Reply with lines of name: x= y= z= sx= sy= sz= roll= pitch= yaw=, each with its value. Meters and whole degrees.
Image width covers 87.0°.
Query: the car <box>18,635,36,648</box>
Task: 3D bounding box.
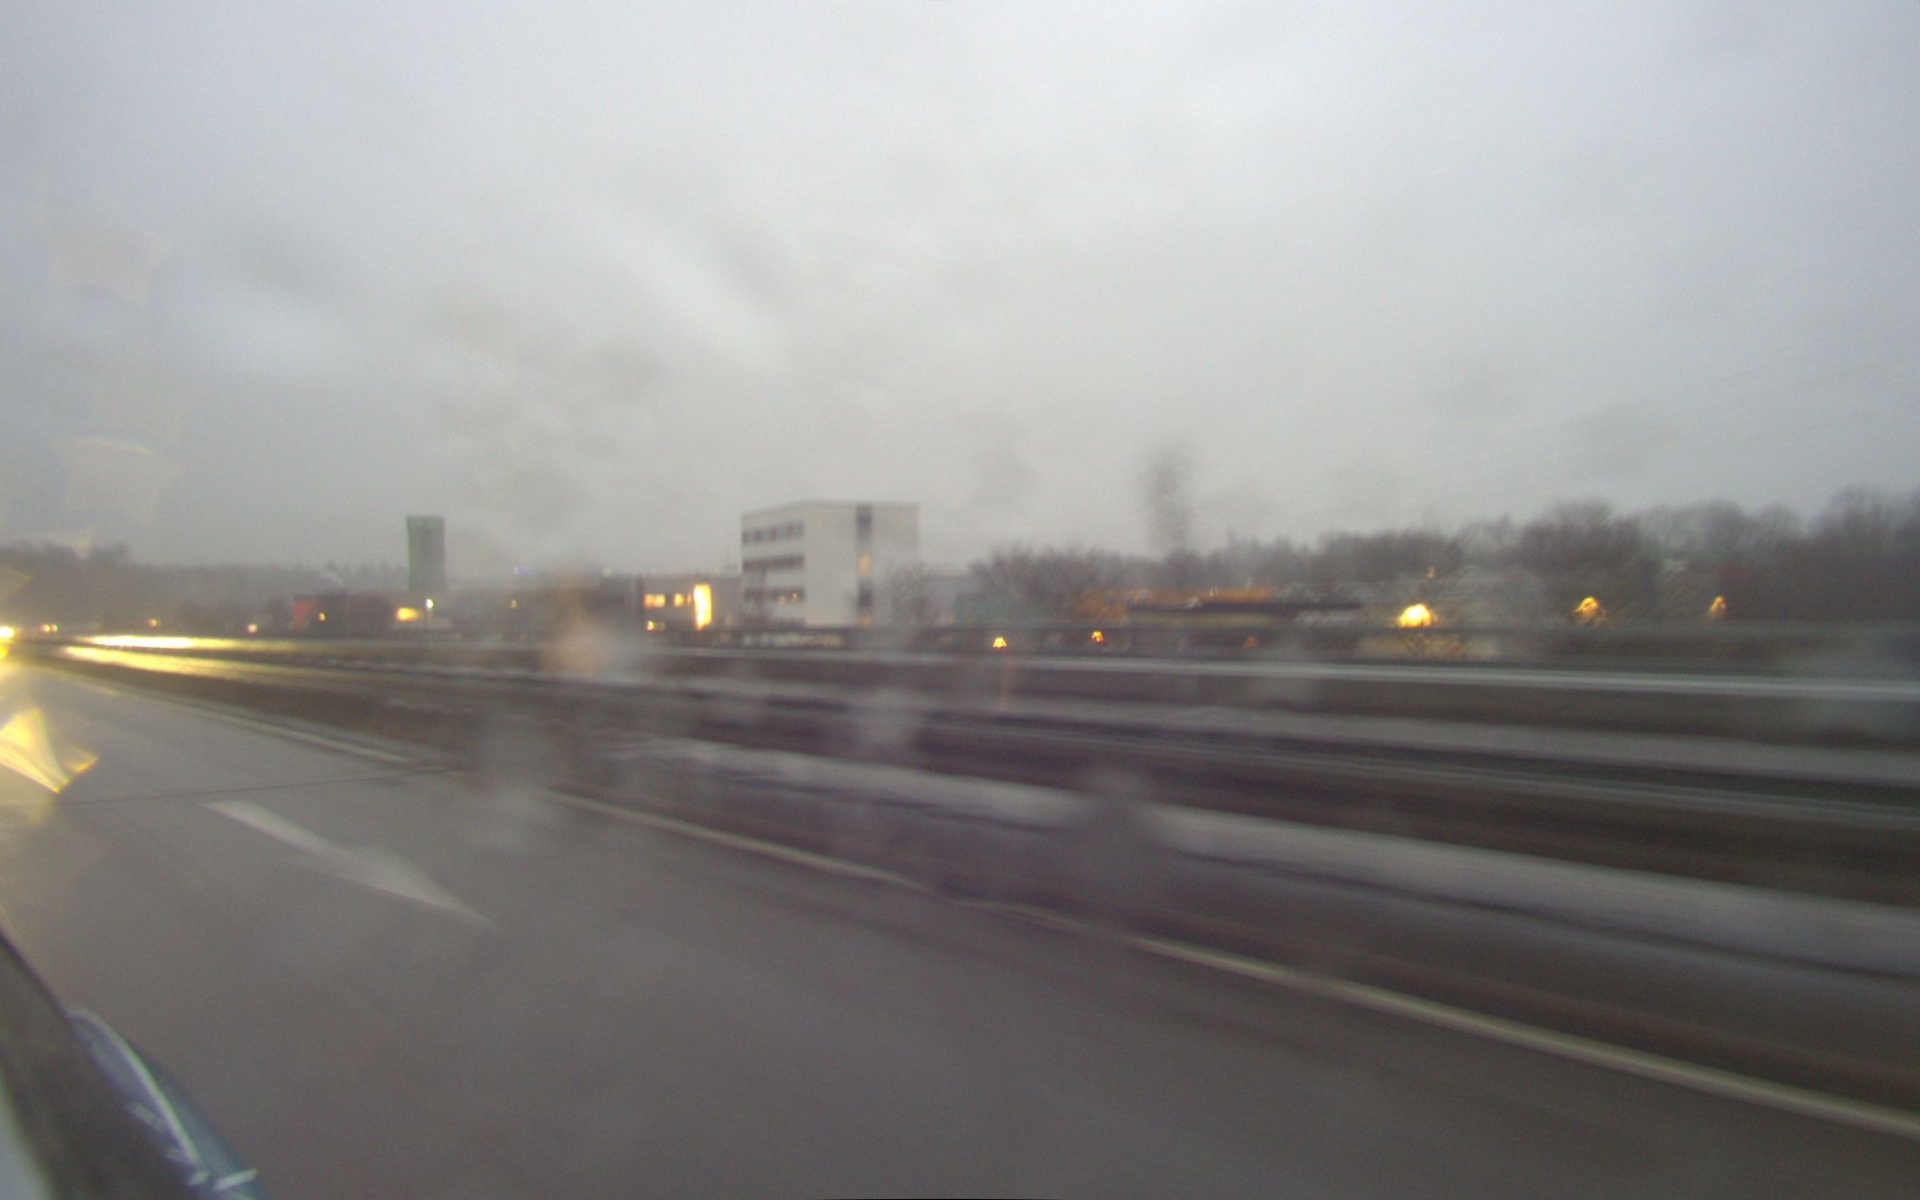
car: x=-140.106 y=6.267 z=151.934 sx=1.970 sy=1.863 sz=3.676 roll=0 pitch=-1 yaw=-43
